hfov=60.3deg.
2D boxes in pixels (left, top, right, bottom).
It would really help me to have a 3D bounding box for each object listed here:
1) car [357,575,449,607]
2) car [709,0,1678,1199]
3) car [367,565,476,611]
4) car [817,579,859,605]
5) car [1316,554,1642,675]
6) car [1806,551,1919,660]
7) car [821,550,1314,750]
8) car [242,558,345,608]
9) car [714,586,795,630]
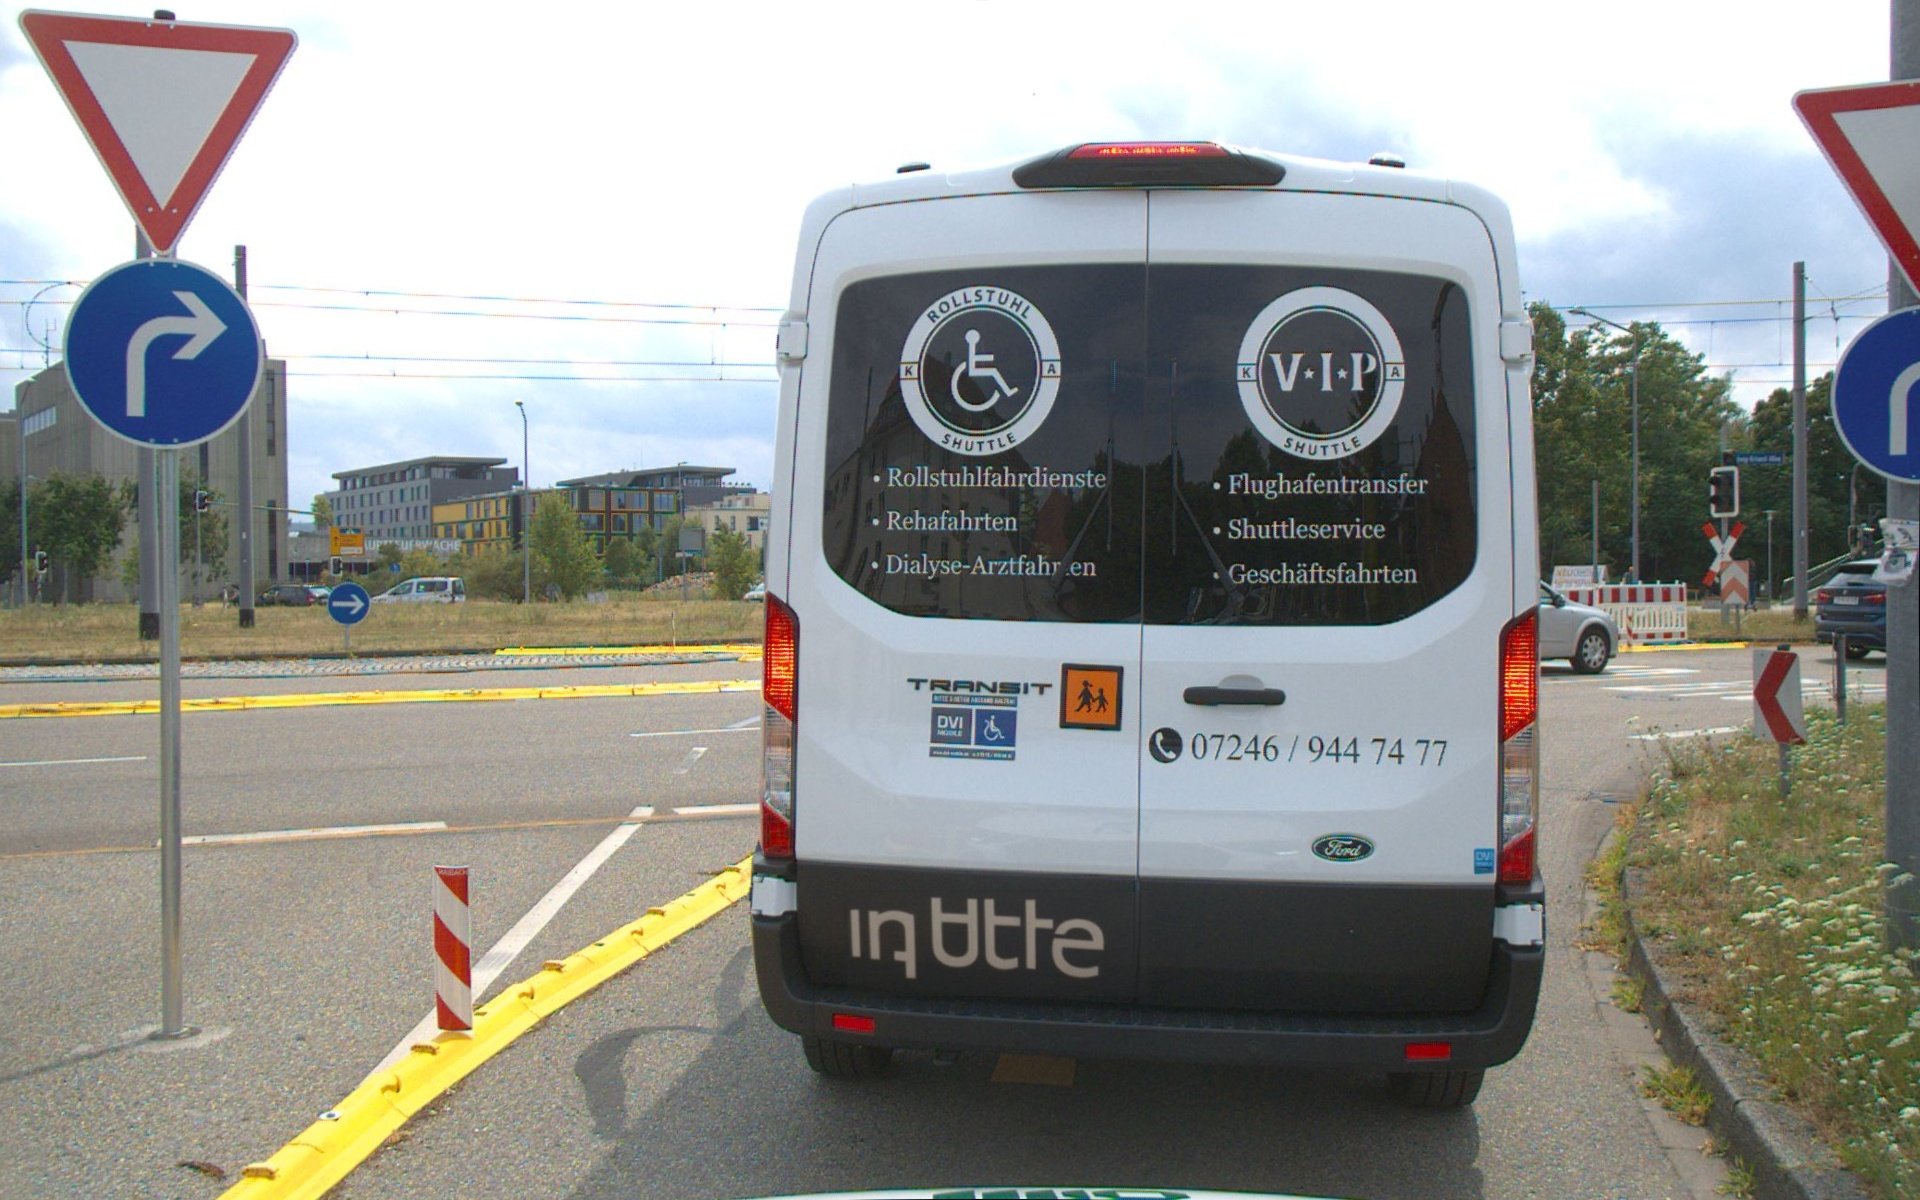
[{"bbox_3d":[-26.793,-0.414,79.601,3.904,1.489,1.833,0,-1,21],"label":"car"},{"bbox_3d":[0.754,0.017,6.420,2.081,2.744,5.635,0,1,5],"label":"car"},{"bbox_3d":[-24.574,-0.555,75.507,4.254,2.049,2.002,0,-1,9],"label":"car"},{"bbox_3d":[-7.061,-0.441,96.103,1.788,1.489,4.002,0,0,5],"label":"car"},{"bbox_3d":[7.035,0.146,22.347,4.198,1.488,1.814,-1,1,-28],"label":"car"},{"bbox_3d":[15.241,0.036,25.165,4.289,1.560,1.724,-1,1,-18],"label":"car"},{"bbox_3d":[0.988,0.351,14.599,4.088,1.545,1.724,-1,1,-29],"label":"car"},{"bbox_3d":[-28.472,-0.716,70.631,3.909,2.049,1.998,0,-1,27],"label":"car"},{"bbox_3d":[-9.903,0.397,80.042,1.956,2.049,3.993,0,-1,29],"label":"car"}]
